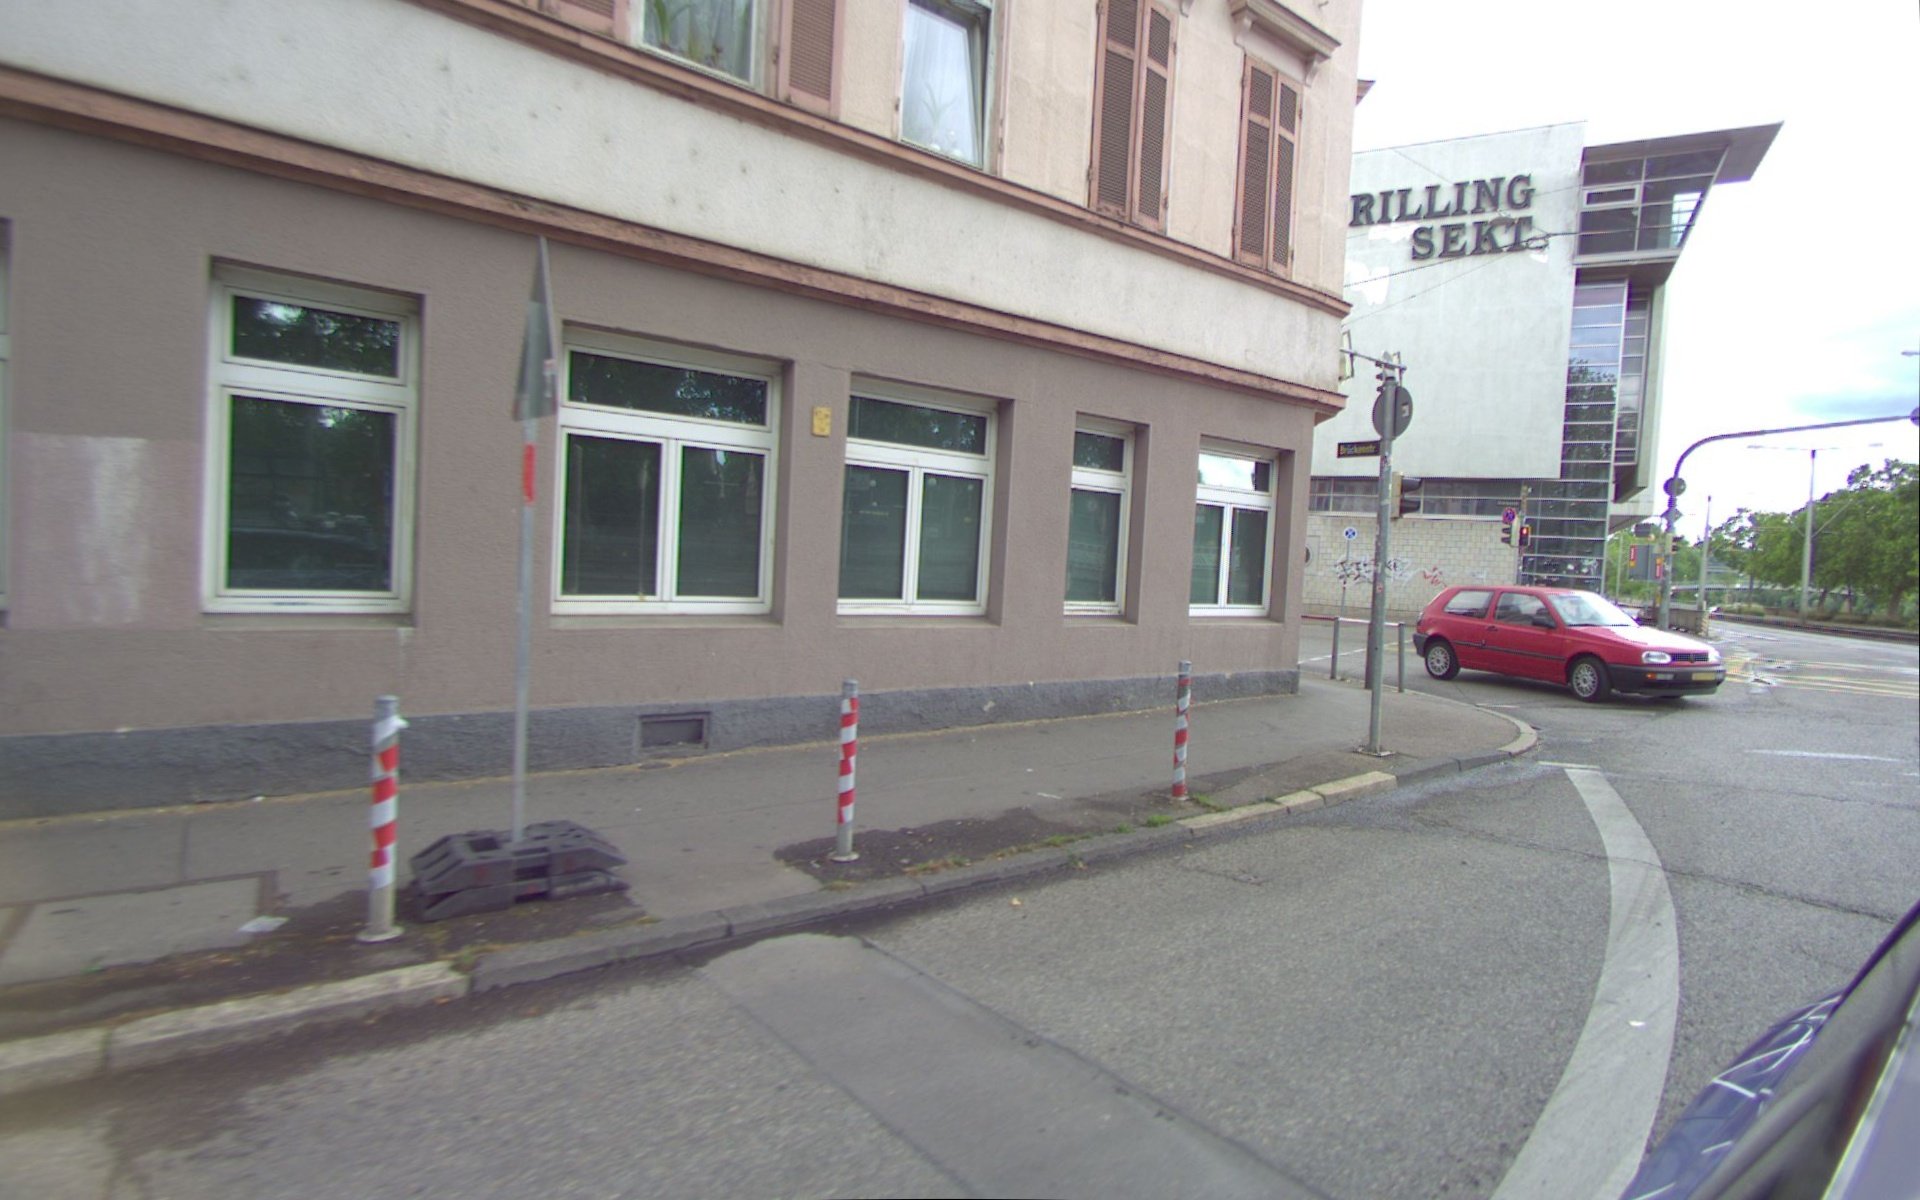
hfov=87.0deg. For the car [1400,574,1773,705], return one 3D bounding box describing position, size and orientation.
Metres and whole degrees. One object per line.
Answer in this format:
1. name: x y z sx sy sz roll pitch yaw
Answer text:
1. car: 8.456 0.407 14.161 1.812 1.440 4.183 -1 3 -20
